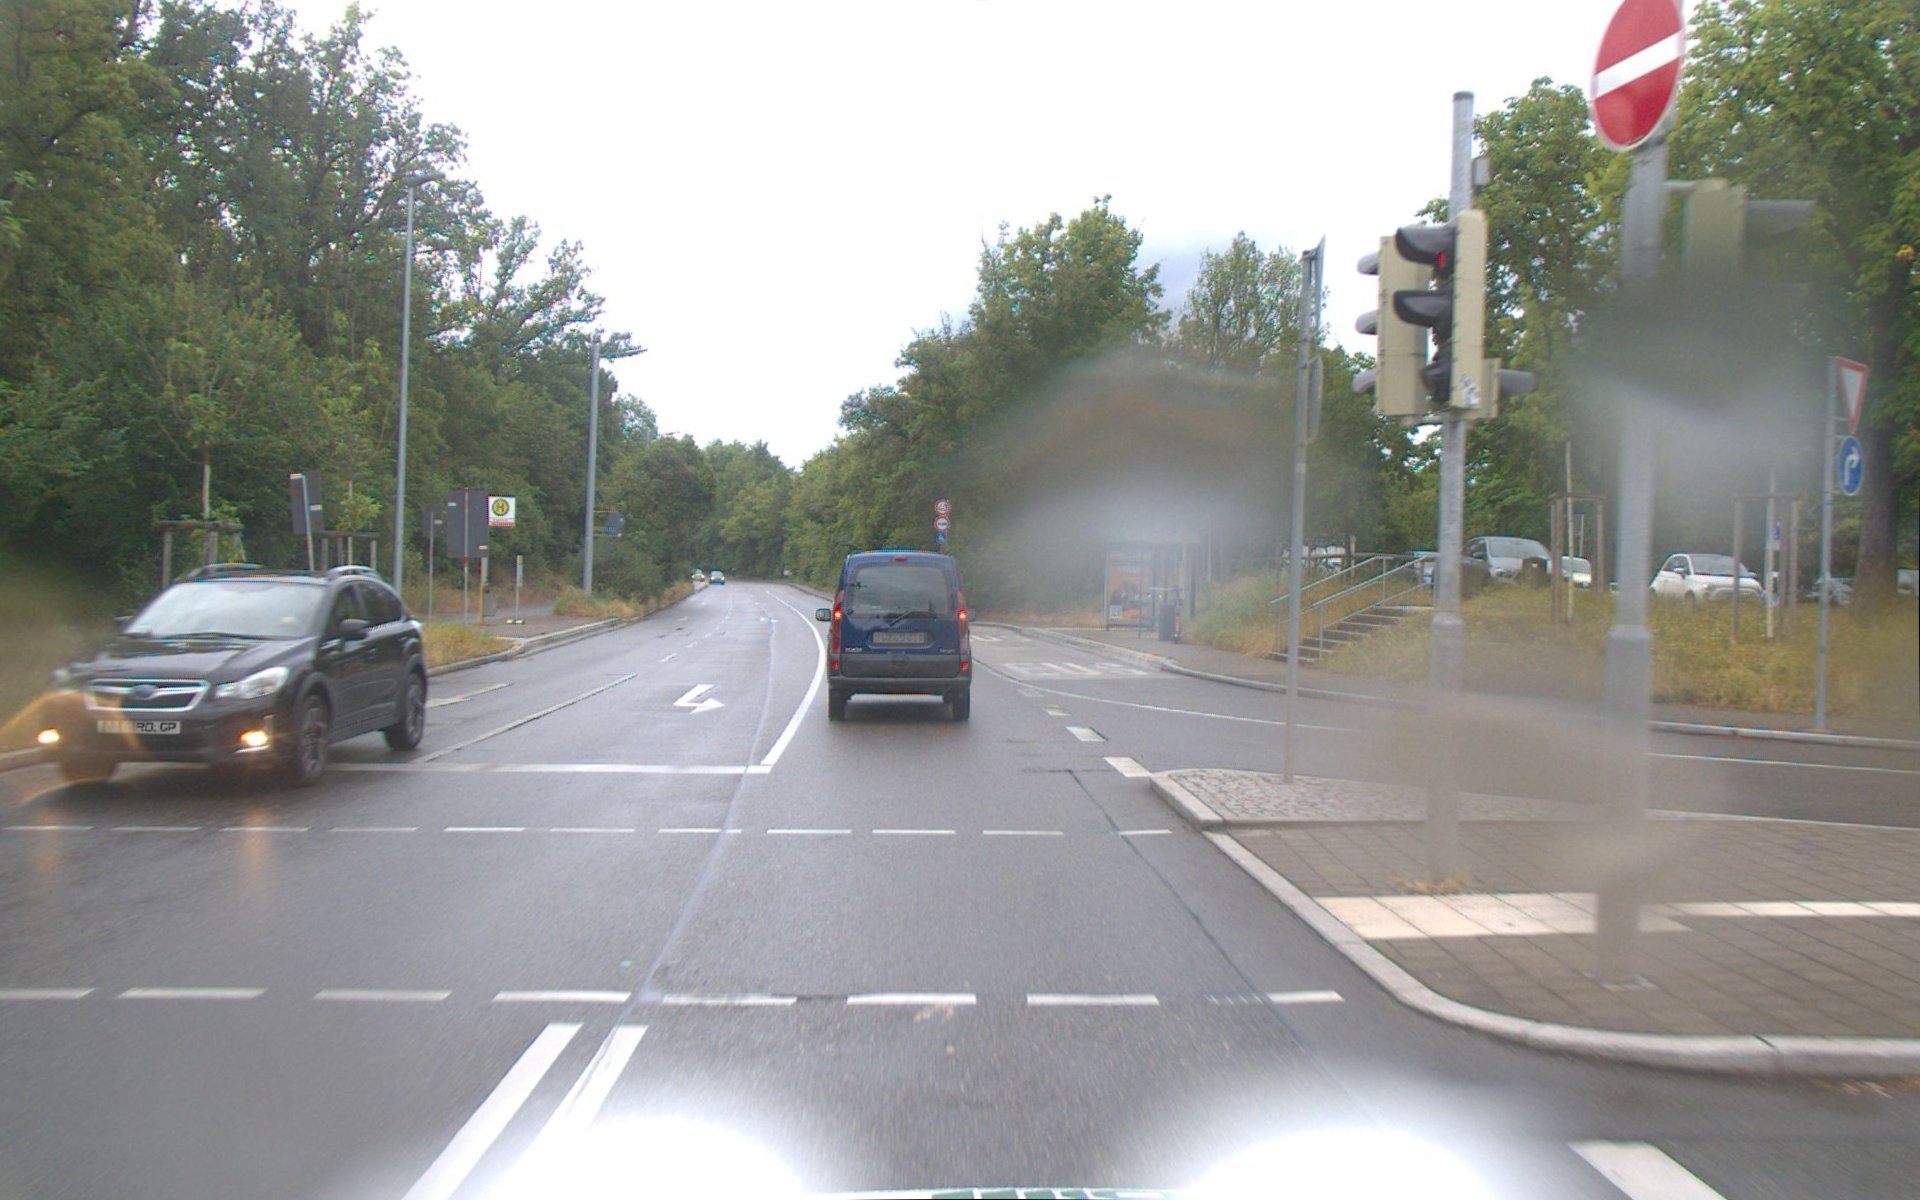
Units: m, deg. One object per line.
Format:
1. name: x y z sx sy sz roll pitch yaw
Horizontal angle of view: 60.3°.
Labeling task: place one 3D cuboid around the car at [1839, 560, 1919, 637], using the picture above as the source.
1. car: 22.198 0.003 37.874 1.953 1.690 4.000 4 1 0

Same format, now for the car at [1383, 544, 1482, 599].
1. car: 14.964 -0.868 52.657 1.847 1.505 4.783 4 0 2

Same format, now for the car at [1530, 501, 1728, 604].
1. car: 12.696 -0.891 31.684 1.954 1.690 3.999 4 1 -2

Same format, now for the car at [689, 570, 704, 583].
1. car: -34.154 -3.067 214.674 1.738 1.638 4.077 1 1 -8

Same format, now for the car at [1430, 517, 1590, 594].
1. car: 12.379 -0.962 37.514 1.954 1.505 4.282 4 0 -3

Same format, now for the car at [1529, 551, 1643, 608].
1. car: 18.400 -0.568 48.806 1.847 1.505 4.069 4 0 2

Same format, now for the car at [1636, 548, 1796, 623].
1. car: 17.310 -0.309 38.067 1.847 1.505 4.069 4 0 2

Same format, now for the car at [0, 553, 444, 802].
1. car: -5.580 0.487 13.079 1.753 1.609 4.559 1 1 -3

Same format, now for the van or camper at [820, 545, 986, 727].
1. van or camper: -0.614 0.366 19.492 1.678 1.857 4.000 2 0 0

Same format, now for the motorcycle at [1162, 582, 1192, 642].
1. motorcycle: 4.949 0.263 37.675 0.576 1.311 1.539 1 1 10

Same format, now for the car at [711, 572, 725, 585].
1. car: -27.990 -2.503 191.604 1.569 1.466 3.983 0 1 -8
